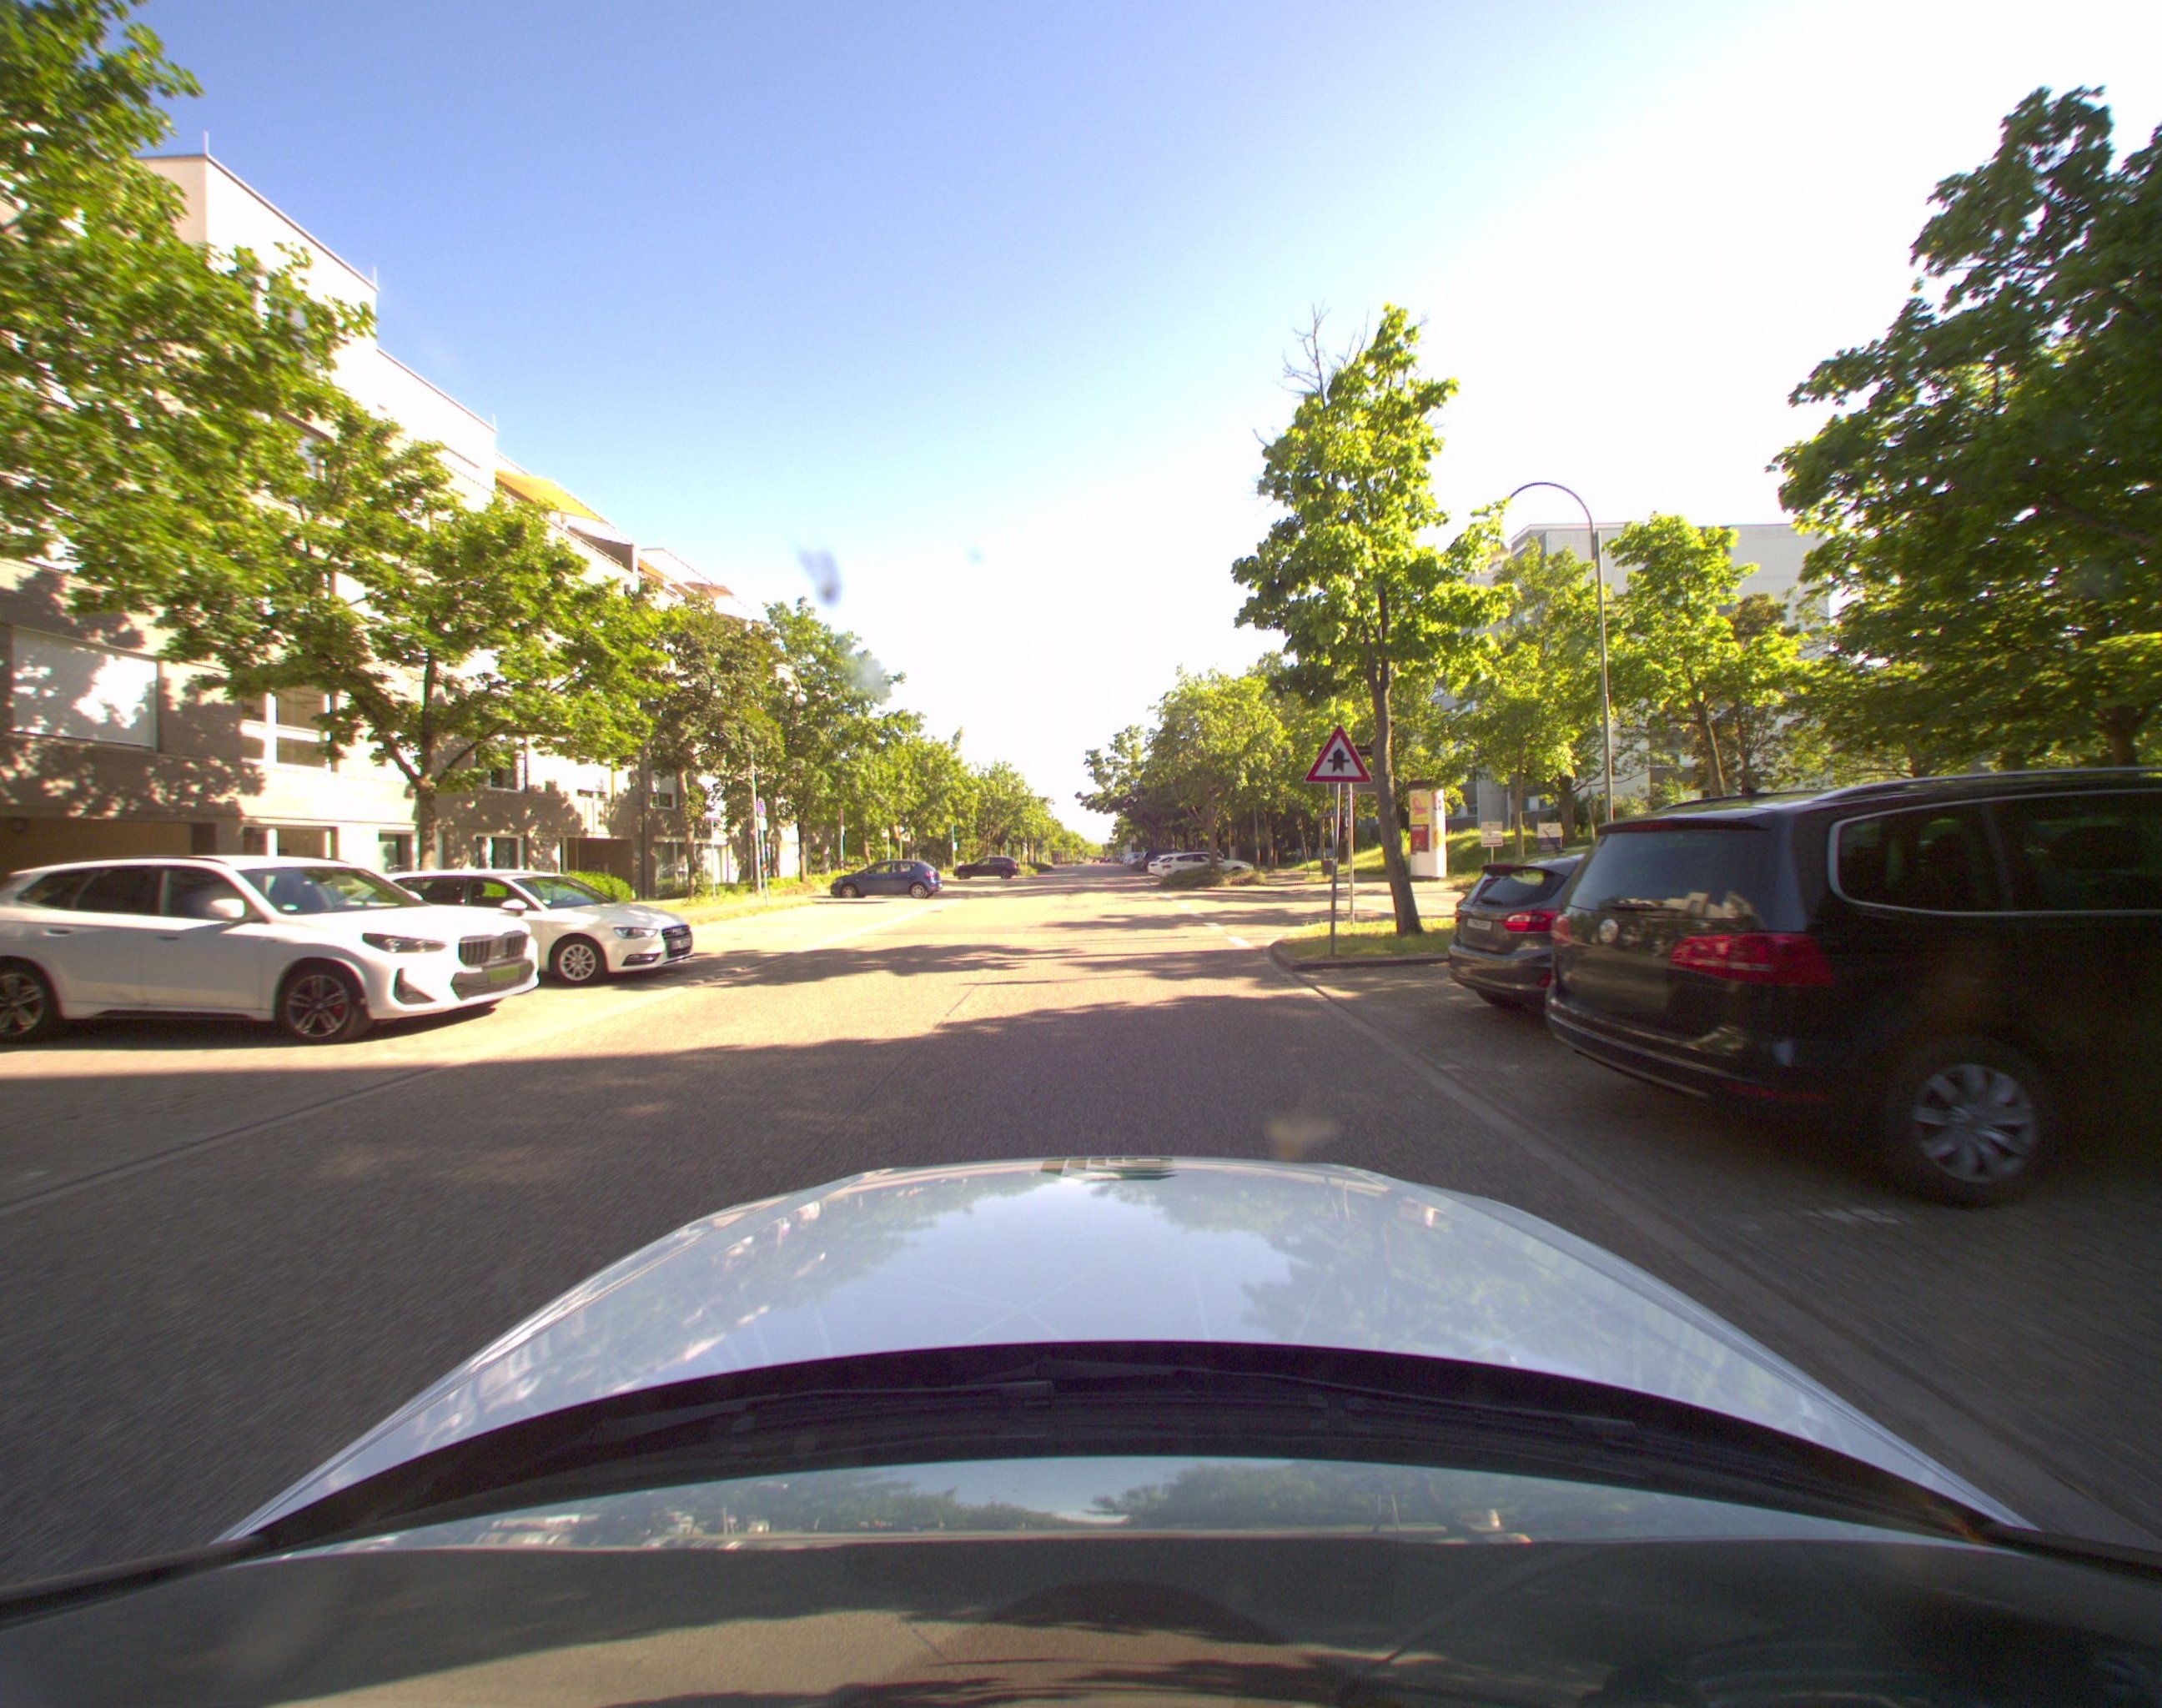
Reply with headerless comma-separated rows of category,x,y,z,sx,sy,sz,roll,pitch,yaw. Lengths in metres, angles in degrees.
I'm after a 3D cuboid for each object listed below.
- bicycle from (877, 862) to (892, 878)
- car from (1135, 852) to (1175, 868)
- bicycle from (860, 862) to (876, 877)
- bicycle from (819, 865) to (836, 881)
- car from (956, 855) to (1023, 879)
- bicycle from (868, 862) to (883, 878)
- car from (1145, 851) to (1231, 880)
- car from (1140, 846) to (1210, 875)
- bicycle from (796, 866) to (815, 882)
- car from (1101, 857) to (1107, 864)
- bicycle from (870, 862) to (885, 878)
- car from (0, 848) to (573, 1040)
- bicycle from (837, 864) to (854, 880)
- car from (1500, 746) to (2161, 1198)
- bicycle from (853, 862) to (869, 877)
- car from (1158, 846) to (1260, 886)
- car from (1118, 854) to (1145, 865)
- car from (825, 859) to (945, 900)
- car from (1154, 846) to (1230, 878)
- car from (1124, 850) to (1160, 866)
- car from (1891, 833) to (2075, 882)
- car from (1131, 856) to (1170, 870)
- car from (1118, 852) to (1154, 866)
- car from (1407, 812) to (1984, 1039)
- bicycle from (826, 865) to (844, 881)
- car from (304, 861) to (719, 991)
bicycle,-13.453,1.070,55.756,0.435,1.047,2.194,-1,0,2
car,7.671,0.603,84.344,3.972,1.451,1.718,-3,0,1
bicycle,-14.984,1.096,57.301,0.435,1.047,2.194,-1,0,2
bicycle,-17.443,1.289,56.031,0.435,1.047,2.194,-1,0,2
car,-6.081,0.858,54.533,4.176,1.520,1.773,-1,0,2
bicycle,-14.467,1.101,57.283,0.435,1.047,2.194,-1,0,2
car,5.805,0.626,44.603,4.430,1.545,1.816,-1,0,-2
car,6.494,0.439,56.675,4.570,1.779,2.001,-3,-1,1
bicycle,-18.918,1.360,55.981,0.435,1.047,2.194,-1,0,2
car,6.962,2.039,247.167,1.986,2.013,4.002,-1,1,2
bicycle,-13.934,1.077,55.756,0.435,1.047,2.194,-1,0,2
car,-7.661,0.771,7.896,4.209,1.602,1.953,0,-1,1
bicycle,-16.101,1.199,55.736,0.435,1.047,2.194,-1,0,2
car,4.412,0.446,4.103,3.656,1.751,1.726,-3,-1,3
bicycle,-15.476,1.093,57.327,0.435,1.047,2.194,-1,0,2
car,5.996,0.562,38.526,4.415,1.593,1.835,-4,0,-2
car,7.919,0.804,127.431,4.149,1.428,2.000,-4,-1,1
car,-7.126,0.917,29.878,3.977,1.411,1.815,-1,0,-3
car,6.480,0.459,47.825,4.106,1.618,1.733,-3,-1,-1
car,7.886,0.523,105.759,4.421,1.647,1.815,-4,0,-1
car,31.340,0.121,28.388,4.430,1.618,1.834,-1,0,0
car,7.633,0.980,89.089,4.253,1.428,1.830,-1,-1,6
car,6.984,0.660,103.071,4.329,1.489,1.737,-4,0,-1
car,5.092,0.524,7.085,3.824,1.446,1.591,-4,1,-2
bicycle,-16.909,1.273,56.021,0.435,1.047,2.194,-1,0,2
car,-7.394,0.892,10.907,4.244,1.480,1.800,-1,0,0
